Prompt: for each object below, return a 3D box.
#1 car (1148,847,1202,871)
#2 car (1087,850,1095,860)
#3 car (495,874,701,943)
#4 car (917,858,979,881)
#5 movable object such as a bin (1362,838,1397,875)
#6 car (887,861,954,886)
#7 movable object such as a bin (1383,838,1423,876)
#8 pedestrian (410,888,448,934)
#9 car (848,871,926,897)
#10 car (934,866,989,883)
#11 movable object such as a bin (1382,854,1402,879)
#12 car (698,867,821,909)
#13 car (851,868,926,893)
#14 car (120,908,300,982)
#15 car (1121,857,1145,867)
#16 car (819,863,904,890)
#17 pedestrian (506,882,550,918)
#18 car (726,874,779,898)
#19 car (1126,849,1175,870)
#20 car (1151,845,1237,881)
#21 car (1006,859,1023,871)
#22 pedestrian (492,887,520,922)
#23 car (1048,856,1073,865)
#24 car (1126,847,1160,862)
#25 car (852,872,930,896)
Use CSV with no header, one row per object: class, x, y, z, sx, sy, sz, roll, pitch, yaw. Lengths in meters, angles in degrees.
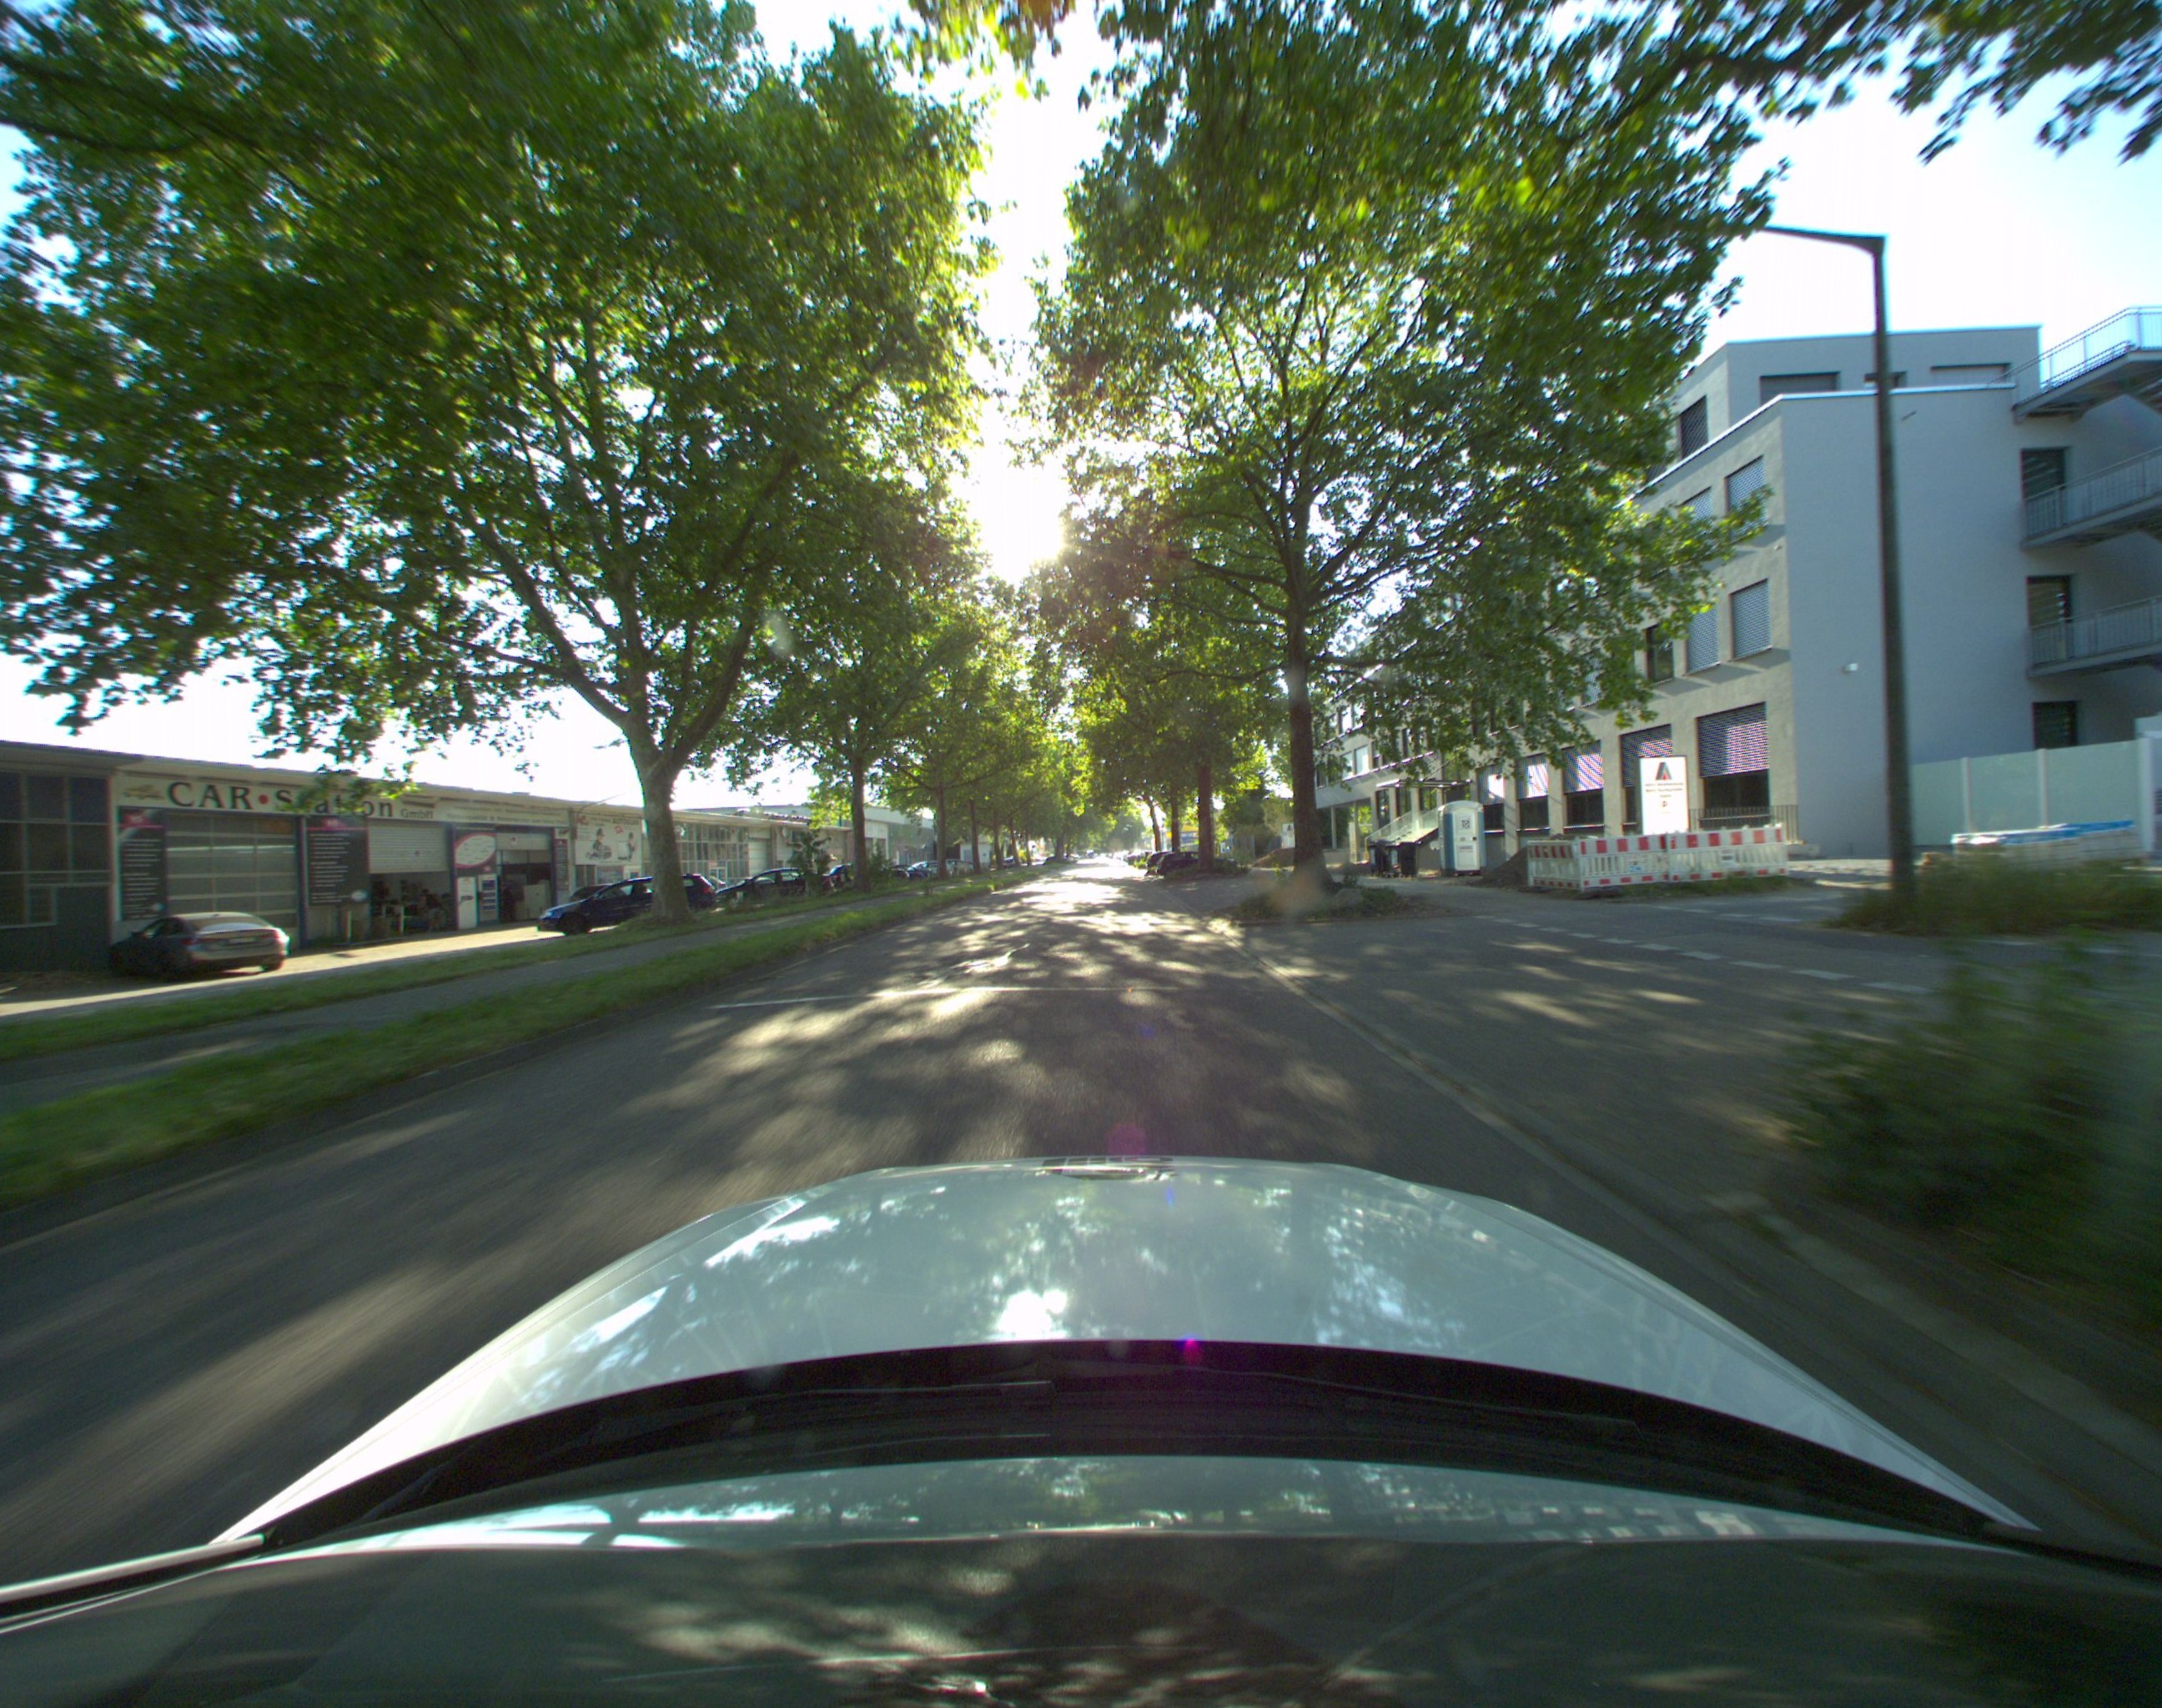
car,7.112,0.397,62.055,3.773,1.486,1.860,-5,-1,-1
car,2.815,0.277,230.736,2.120,2.659,7.003,-2,0,1
car,-13.876,1.517,23.779,4.904,1.760,1.985,0,-1,-23
car,-9.979,1.136,61.181,1.975,1.629,4.288,-1,-1,44
movable object such as a bin,11.188,0.098,30.590,0.745,1.350,1.621,-1,-1,2
car,-11.234,1.347,57.196,1.975,1.699,4.287,-1,-1,45
movable object such as a bin,10.970,0.108,27.807,0.745,1.263,1.612,-1,-1,2
pedestrian,-24.406,2.135,30.487,0.790,1.676,0.770,-1,-1,1
car,-11.919,1.811,50.087,4.282,1.452,1.978,0,-1,-37
car,-10.665,1.795,73.099,4.508,1.306,1.976,-2,0,-40
movable object such as a bin,11.232,0.456,29.463,0.490,0.900,0.599,-1,-1,0
car,-12.616,1.287,32.092,4.354,1.530,1.985,0,-1,-23
car,-12.505,1.696,53.018,4.282,1.452,1.978,0,-1,-37
car,-20.867,2.091,19.506,3.949,1.442,2.012,-1,-1,29
car,10.473,1.590,163.206,4.582,1.580,2.002,-5,-1,3
car,-12.552,1.267,46.687,4.282,1.452,1.978,0,-1,-37
pedestrian,-24.744,2.058,36.457,1.155,1.560,1.126,-1,-1,8
car,-20.324,1.974,50.351,3.255,1.385,1.563,-1,-1,36
car,6.964,0.588,81.588,4.558,1.715,1.941,-5,-1,-3
car,6.065,0.488,44.117,4.271,1.486,1.860,-6,-1,-1
car,-8.730,1.423,107.152,1.989,1.370,3.916,-6,0,-3
pedestrian,-24.901,2.173,35.256,0.688,1.472,0.687,-1,-1,9
car,-3.768,1.164,149.756,4.584,1.422,2.000,-2,0,0
car,8.782,0.041,116.169,4.611,1.712,1.999,-5,-1,-1
car,-11.700,1.833,50.251,4.282,1.382,1.978,0,-1,-37
